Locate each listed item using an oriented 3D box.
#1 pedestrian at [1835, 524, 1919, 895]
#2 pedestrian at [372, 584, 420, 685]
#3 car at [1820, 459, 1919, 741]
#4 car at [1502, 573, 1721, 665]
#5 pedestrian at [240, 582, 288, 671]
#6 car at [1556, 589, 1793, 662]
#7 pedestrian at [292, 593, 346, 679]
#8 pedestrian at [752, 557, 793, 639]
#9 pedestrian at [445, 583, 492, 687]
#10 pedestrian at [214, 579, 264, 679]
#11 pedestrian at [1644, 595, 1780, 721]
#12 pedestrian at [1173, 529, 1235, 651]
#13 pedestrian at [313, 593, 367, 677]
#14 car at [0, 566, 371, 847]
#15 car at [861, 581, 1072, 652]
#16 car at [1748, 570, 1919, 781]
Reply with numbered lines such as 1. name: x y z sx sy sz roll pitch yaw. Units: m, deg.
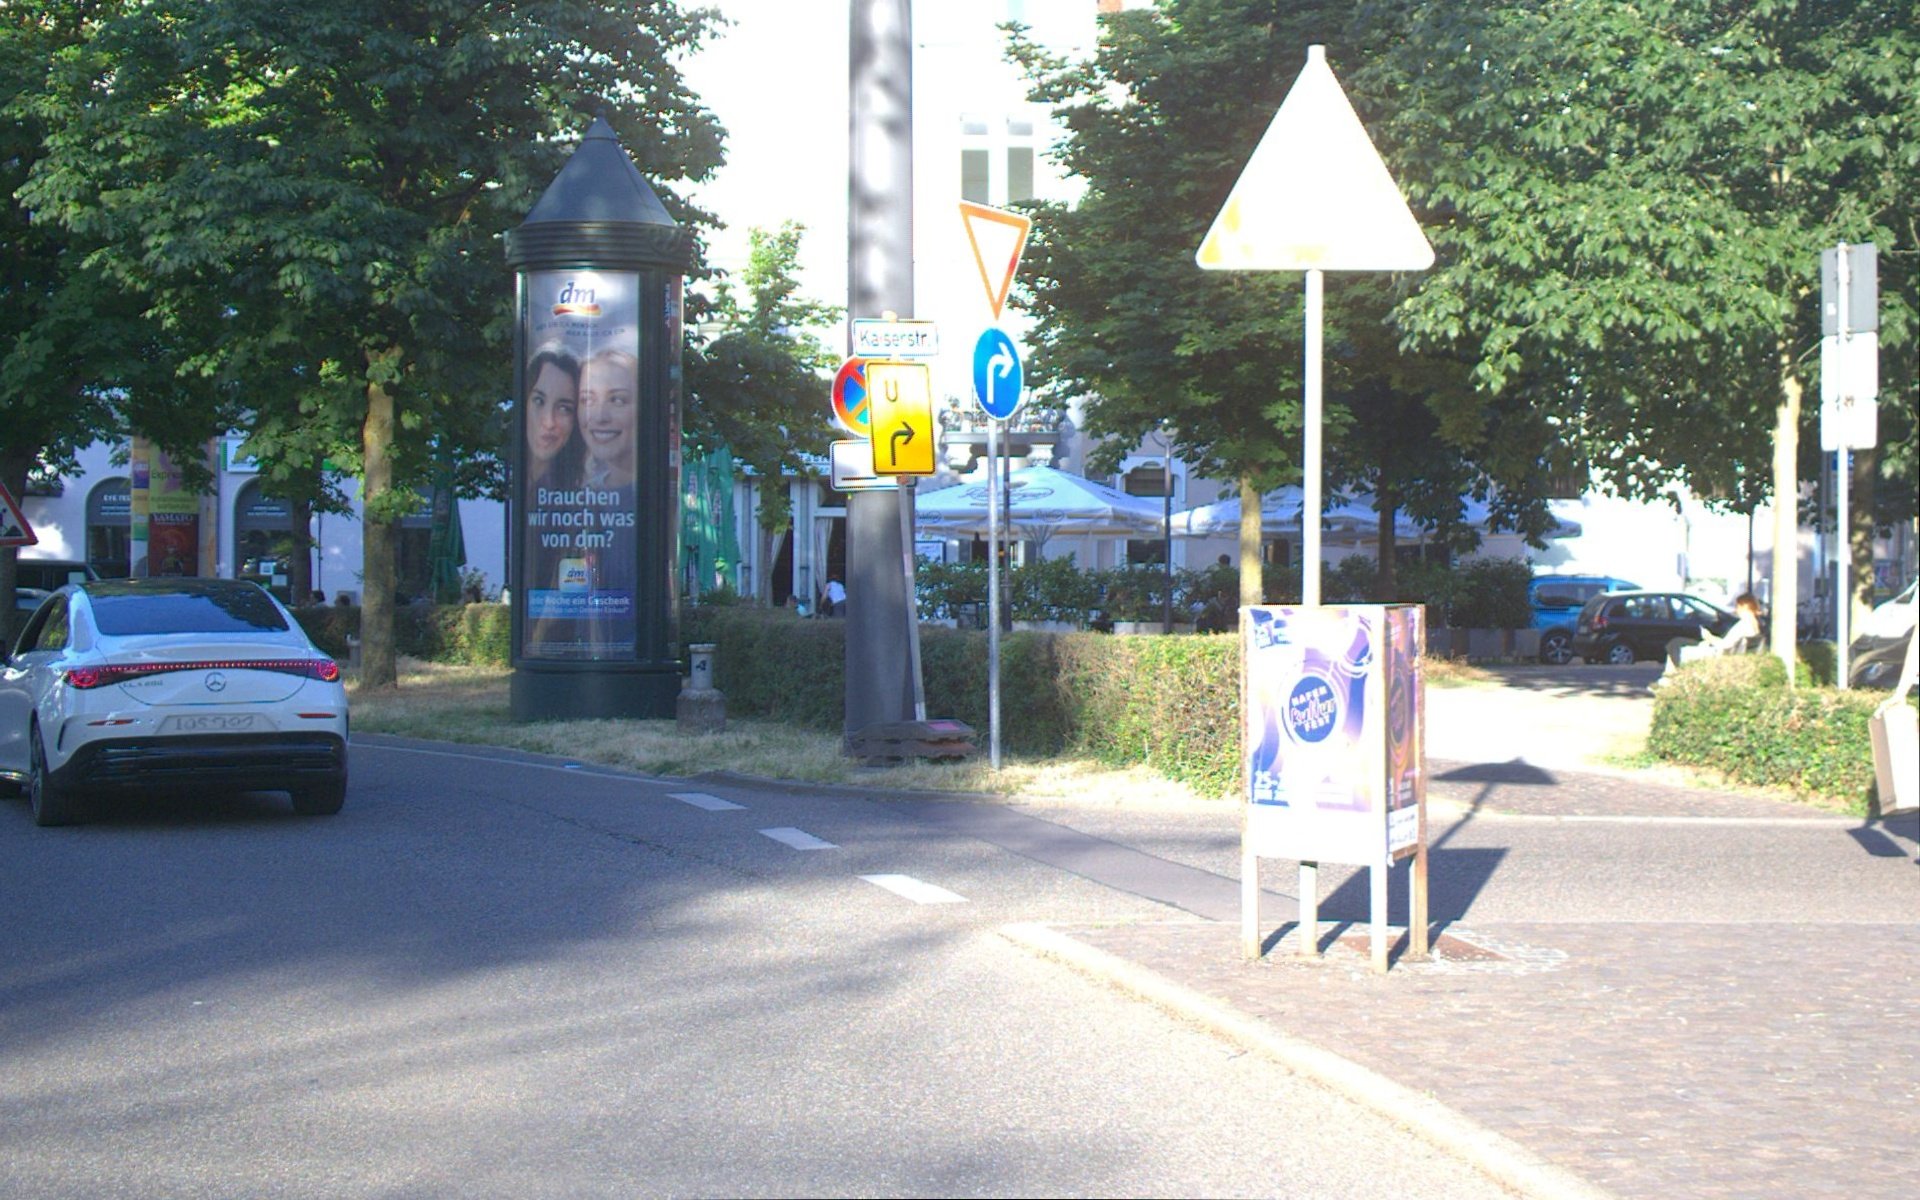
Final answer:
1. pedestrian: 4.606 0.505 16.252 0.860 1.700 0.941 1 1 14
2. pedestrian: -8.425 0.510 51.376 0.534 1.492 0.659 1 0 8
3. car: 11.312 0.021 32.945 5.510 2.586 2.155 1 0 -6
4. car: 13.104 0.367 69.269 3.986 1.776 1.853 1 0 -3
5. pedestrian: -10.865 0.413 53.660 0.534 1.374 0.659 1 0 8
6. car: 13.307 0.467 64.160 3.986 1.297 1.853 1 0 -3
7. pedestrian: -10.257 0.568 55.033 0.667 1.348 0.659 1 0 8
8. pedestrian: -4.284 -0.049 78.349 0.854 1.860 0.936 1 0 -6
9. pedestrian: -7.442 0.525 52.058 0.534 1.543 0.659 1 0 8
10. pedestrian: -10.894 0.438 51.976 0.534 1.492 0.659 1 0 8
11. pedestrian: 7.601 0.584 34.786 1.097 1.222 0.860 1 1 -6
12. pedestrian: 3.912 -0.167 55.020 0.933 1.917 0.857 1 0 7
13. pedestrian: -10.058 0.561 55.792 0.667 1.348 0.659 1 0 8
14. car: -5.072 0.577 21.625 1.864 1.436 4.198 -3 2 -21
15. car: 0.095 0.312 66.844 3.986 1.297 1.853 1 0 -3
16. car: 8.387 0.566 26.678 3.986 1.547 1.879 1 0 -13
